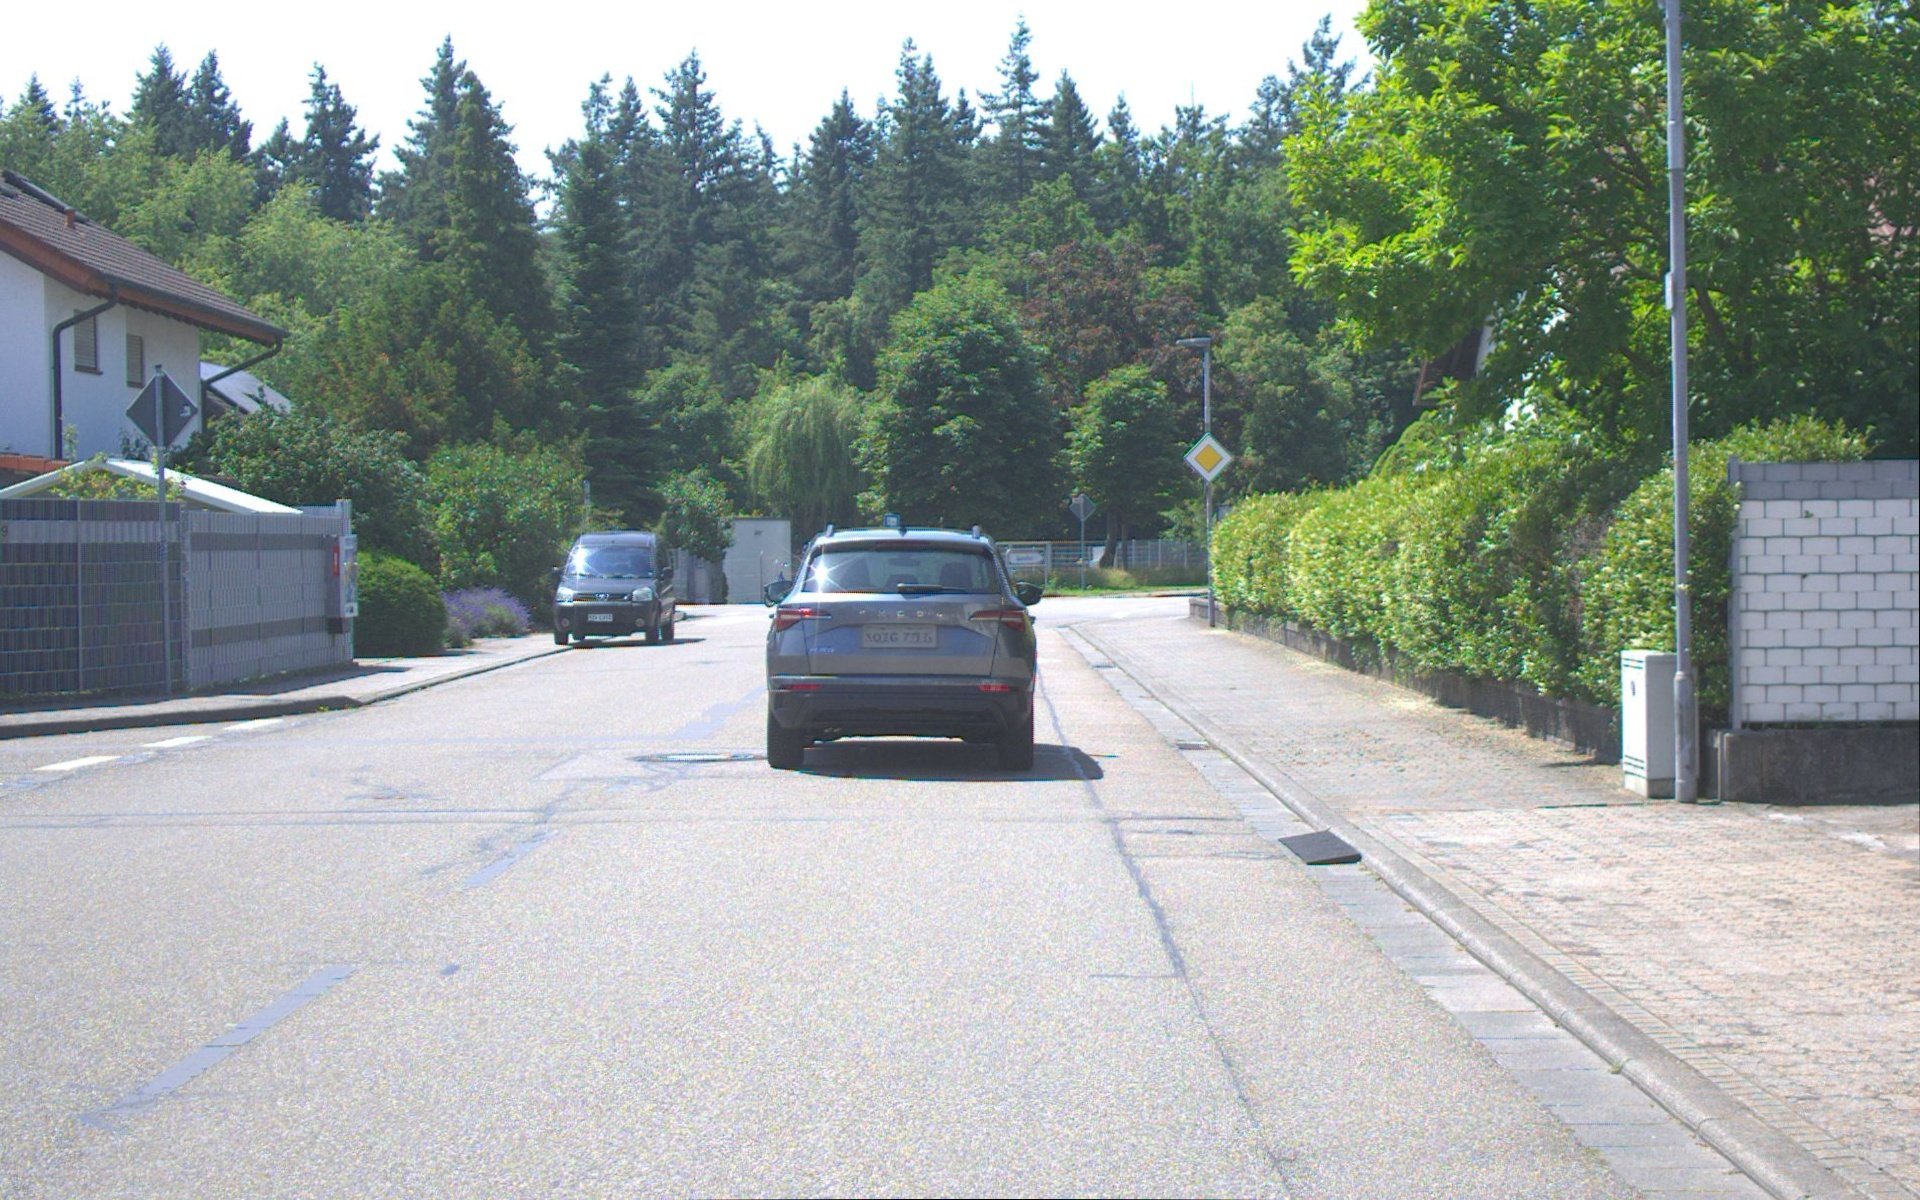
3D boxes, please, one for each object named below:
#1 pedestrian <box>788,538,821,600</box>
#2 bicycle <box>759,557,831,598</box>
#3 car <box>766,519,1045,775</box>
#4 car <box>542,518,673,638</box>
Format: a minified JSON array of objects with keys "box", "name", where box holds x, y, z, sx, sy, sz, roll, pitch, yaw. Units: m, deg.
[{"box":[-3.750,-0.747,82.817,0.610,1.495,0.504,-1,1,-38],"name":"pedestrian"},{"box":[-3.986,-0.554,83.268,1.843,0.960,0.443,-2,1,-40],"name":"bicycle"},{"box":[-0.373,0.266,23.943,1.762,1.612,4.000,1,1,-1],"name":"car"},{"box":[-5.638,-0.377,55.345,1.718,1.839,4.055,-1,1,-1],"name":"car"}]
